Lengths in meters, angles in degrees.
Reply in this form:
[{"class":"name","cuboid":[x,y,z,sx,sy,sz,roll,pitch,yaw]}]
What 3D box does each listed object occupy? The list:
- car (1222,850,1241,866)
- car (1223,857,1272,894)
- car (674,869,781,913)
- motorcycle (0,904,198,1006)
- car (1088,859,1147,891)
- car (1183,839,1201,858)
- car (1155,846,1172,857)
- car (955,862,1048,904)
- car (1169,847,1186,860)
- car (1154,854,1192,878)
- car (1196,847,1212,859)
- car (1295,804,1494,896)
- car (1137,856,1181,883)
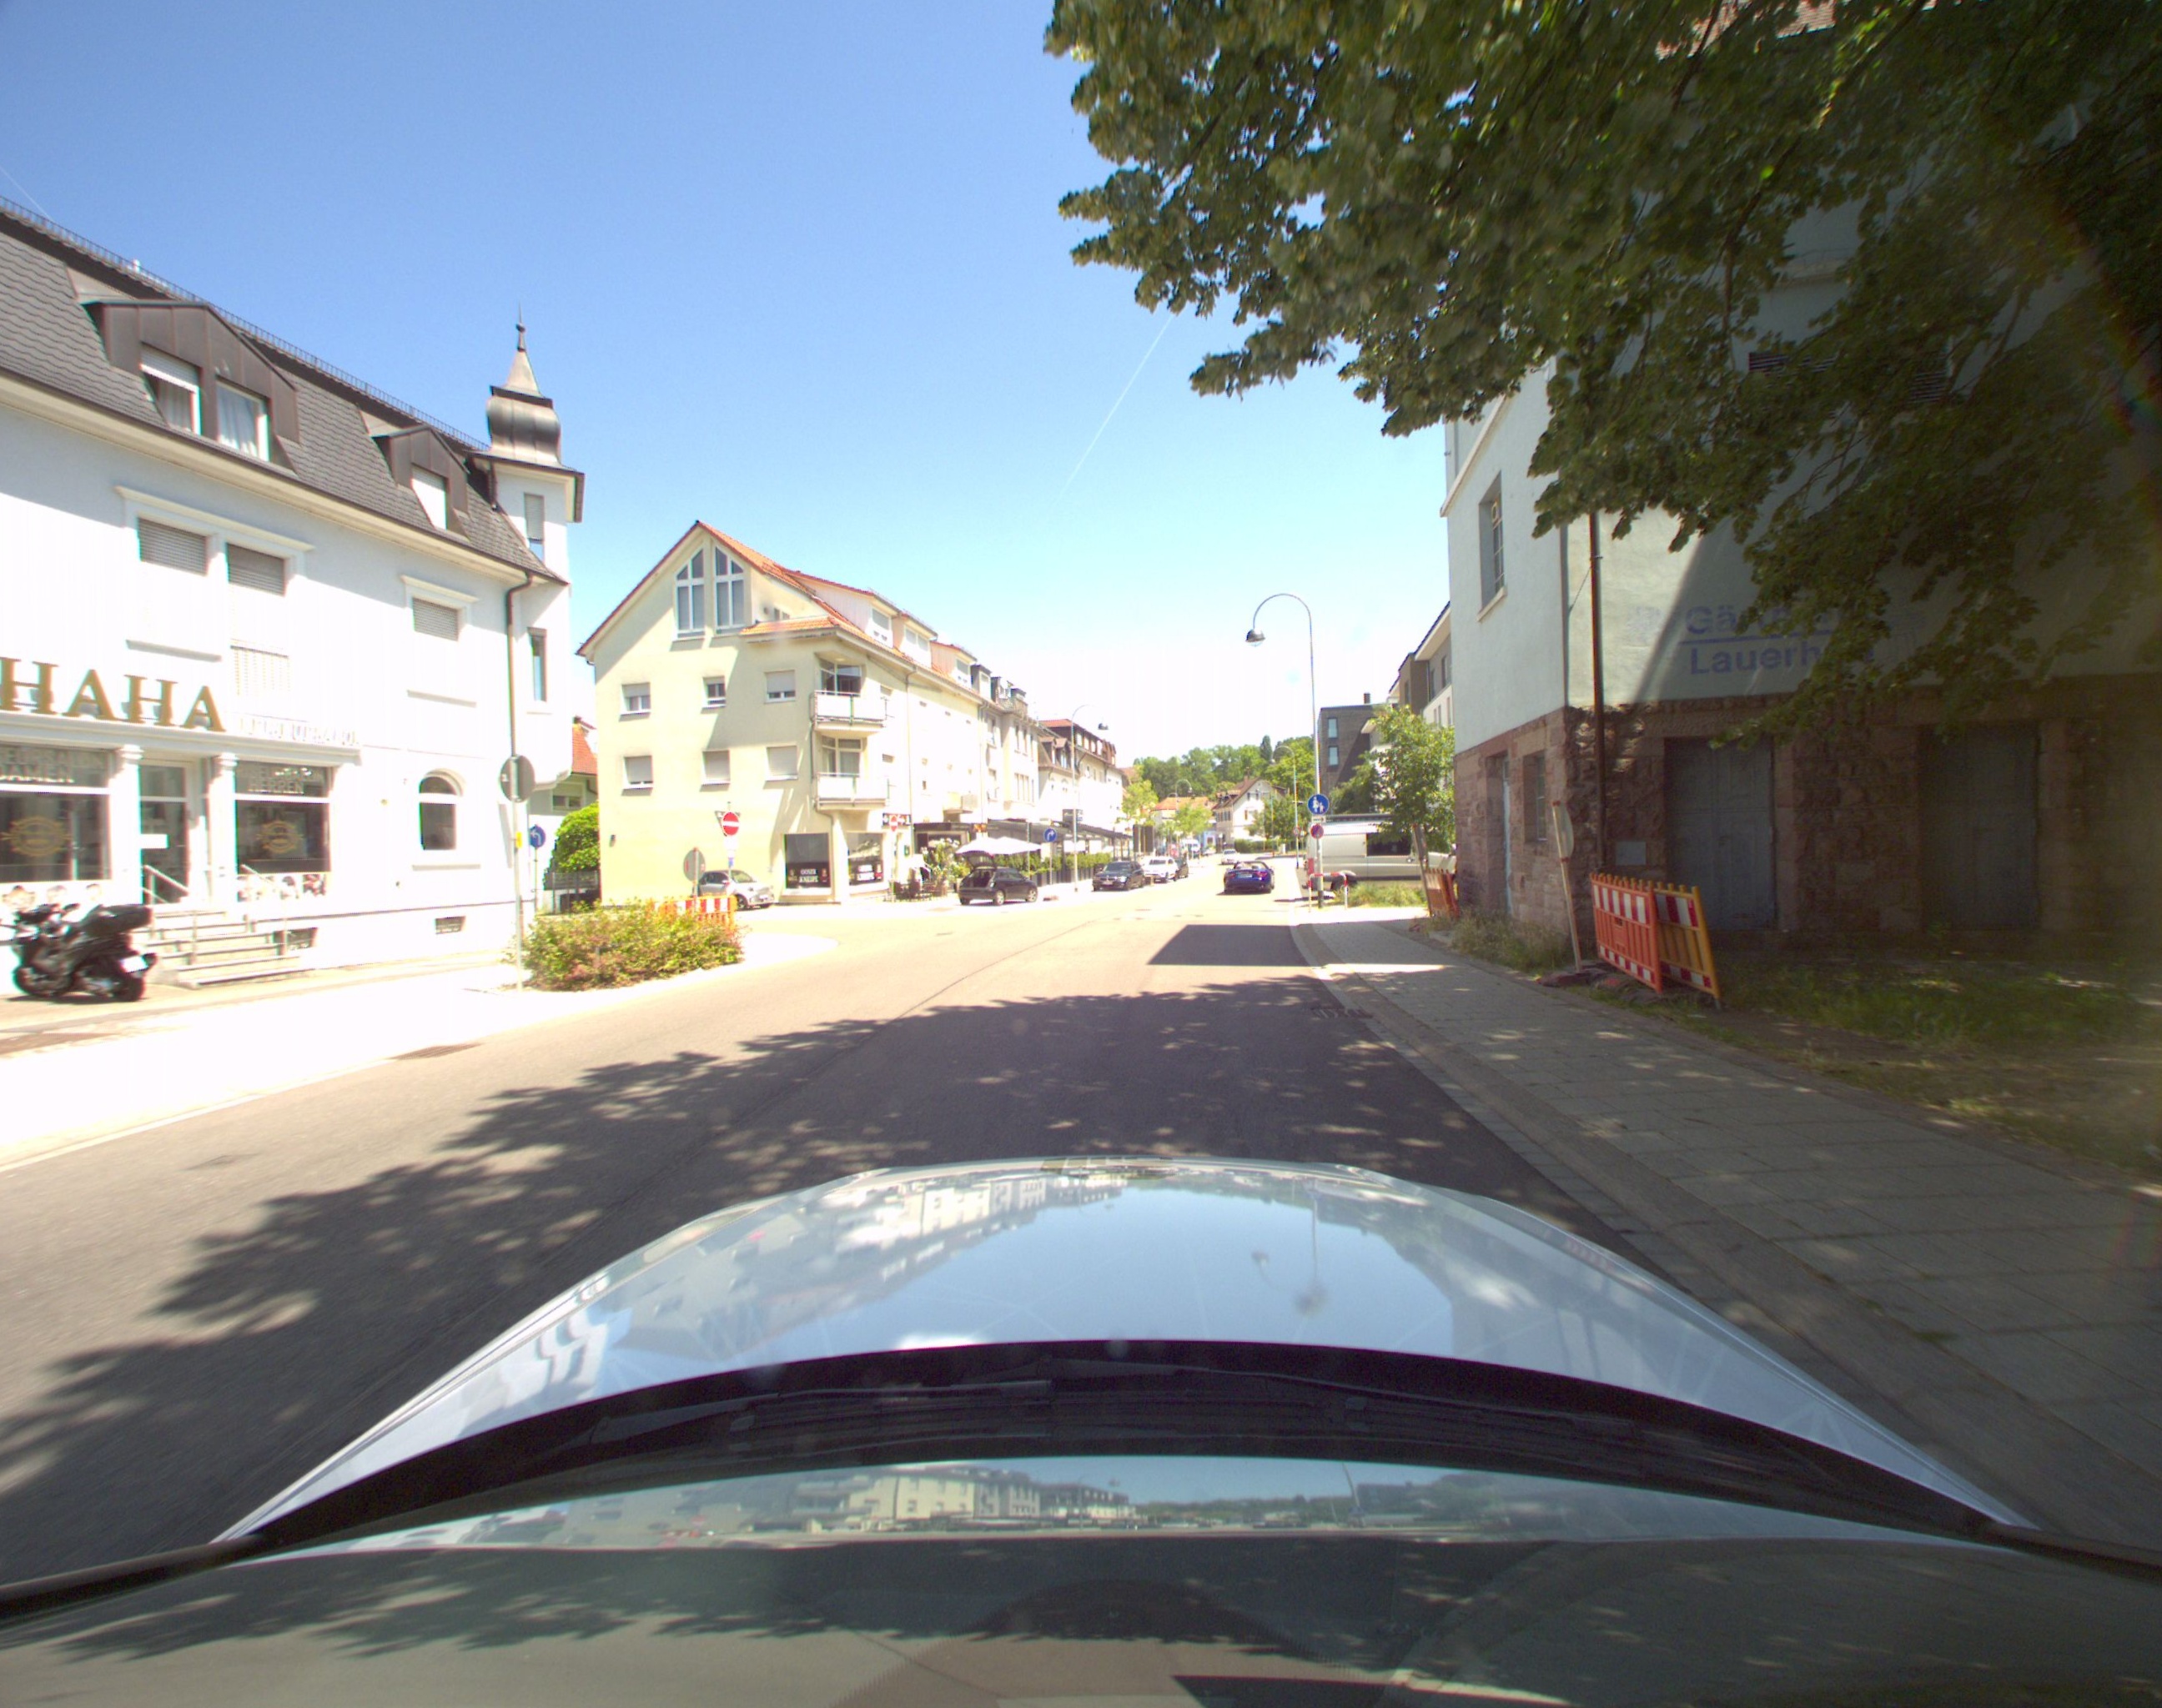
[{"class":"car","cuboid":[15.139,0.397,81.900,1.676,1.458,4.072,-4,0,12]},{"class":"car","cuboid":[7.051,0.861,34.575,1.858,1.342,4.611,-2,0,11]},{"class":"car","cuboid":[-13.368,1.385,30.861,3.242,1.458,1.697,-2,0,10]},{"class":"motorcycle","cuboid":[-13.011,1.303,10.677,2.378,1.217,0.836,-2,-1,12]},{"class":"car","cuboid":[1.931,1.034,41.493,1.820,1.429,4.805,0,1,18]},{"class":"car","cuboid":[14.183,-0.715,104.386,1.858,2.400,4.824,-2,0,4]},{"class":"car","cuboid":[12.711,-0.430,125.991,1.990,1.692,3.994,-1,0,-5]},{"class":"car","cuboid":[-3.004,1.080,31.543,1.697,1.460,4.153,1,0,25]},{"class":"car","cuboid":[13.395,-0.045,113.617,1.986,1.738,4.002,-2,0,2]},{"class":"car","cuboid":[6.128,0.775,53.964,1.657,1.443,4.028,-2,0,18]},{"class":"car","cuboid":[17.614,-0.136,116.785,1.656,1.606,3.998,-4,0,-1]},{"class":"car","cuboid":[10.194,-0.103,27.052,5.896,2.732,2.205,-2,0,14]},{"class":"car","cuboid":[4.719,0.896,48.676,1.631,1.479,3.961,0,1,20]}]
